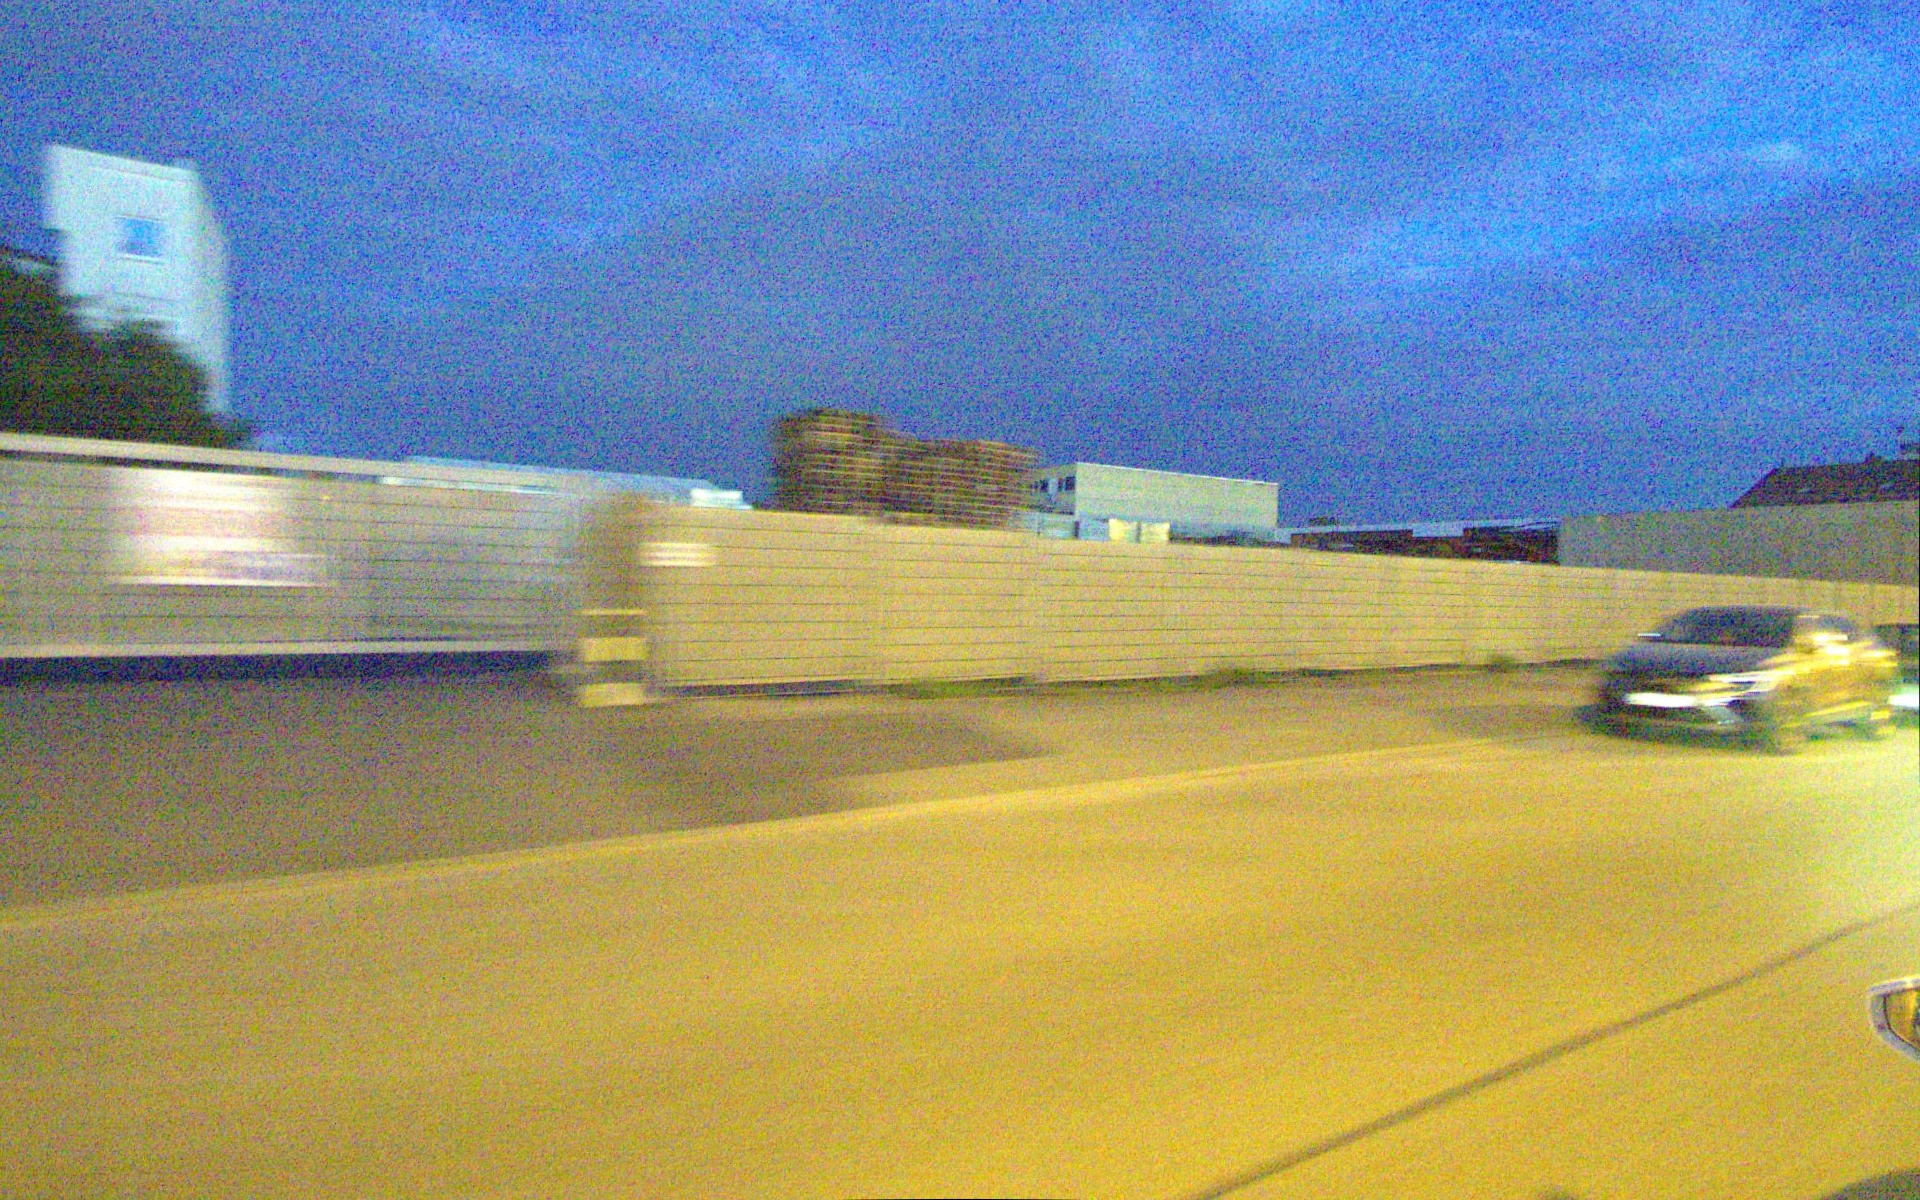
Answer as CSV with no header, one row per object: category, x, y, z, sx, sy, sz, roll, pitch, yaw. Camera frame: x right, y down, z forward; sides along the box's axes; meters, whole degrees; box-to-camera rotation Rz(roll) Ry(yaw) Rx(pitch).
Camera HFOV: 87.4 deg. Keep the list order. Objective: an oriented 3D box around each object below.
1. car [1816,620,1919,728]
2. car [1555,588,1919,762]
car,14.179,1.031,14.514,3.955,1.372,1.593,1,1,-32
car,9.377,0.801,11.958,4.722,1.658,1.982,2,1,-33
